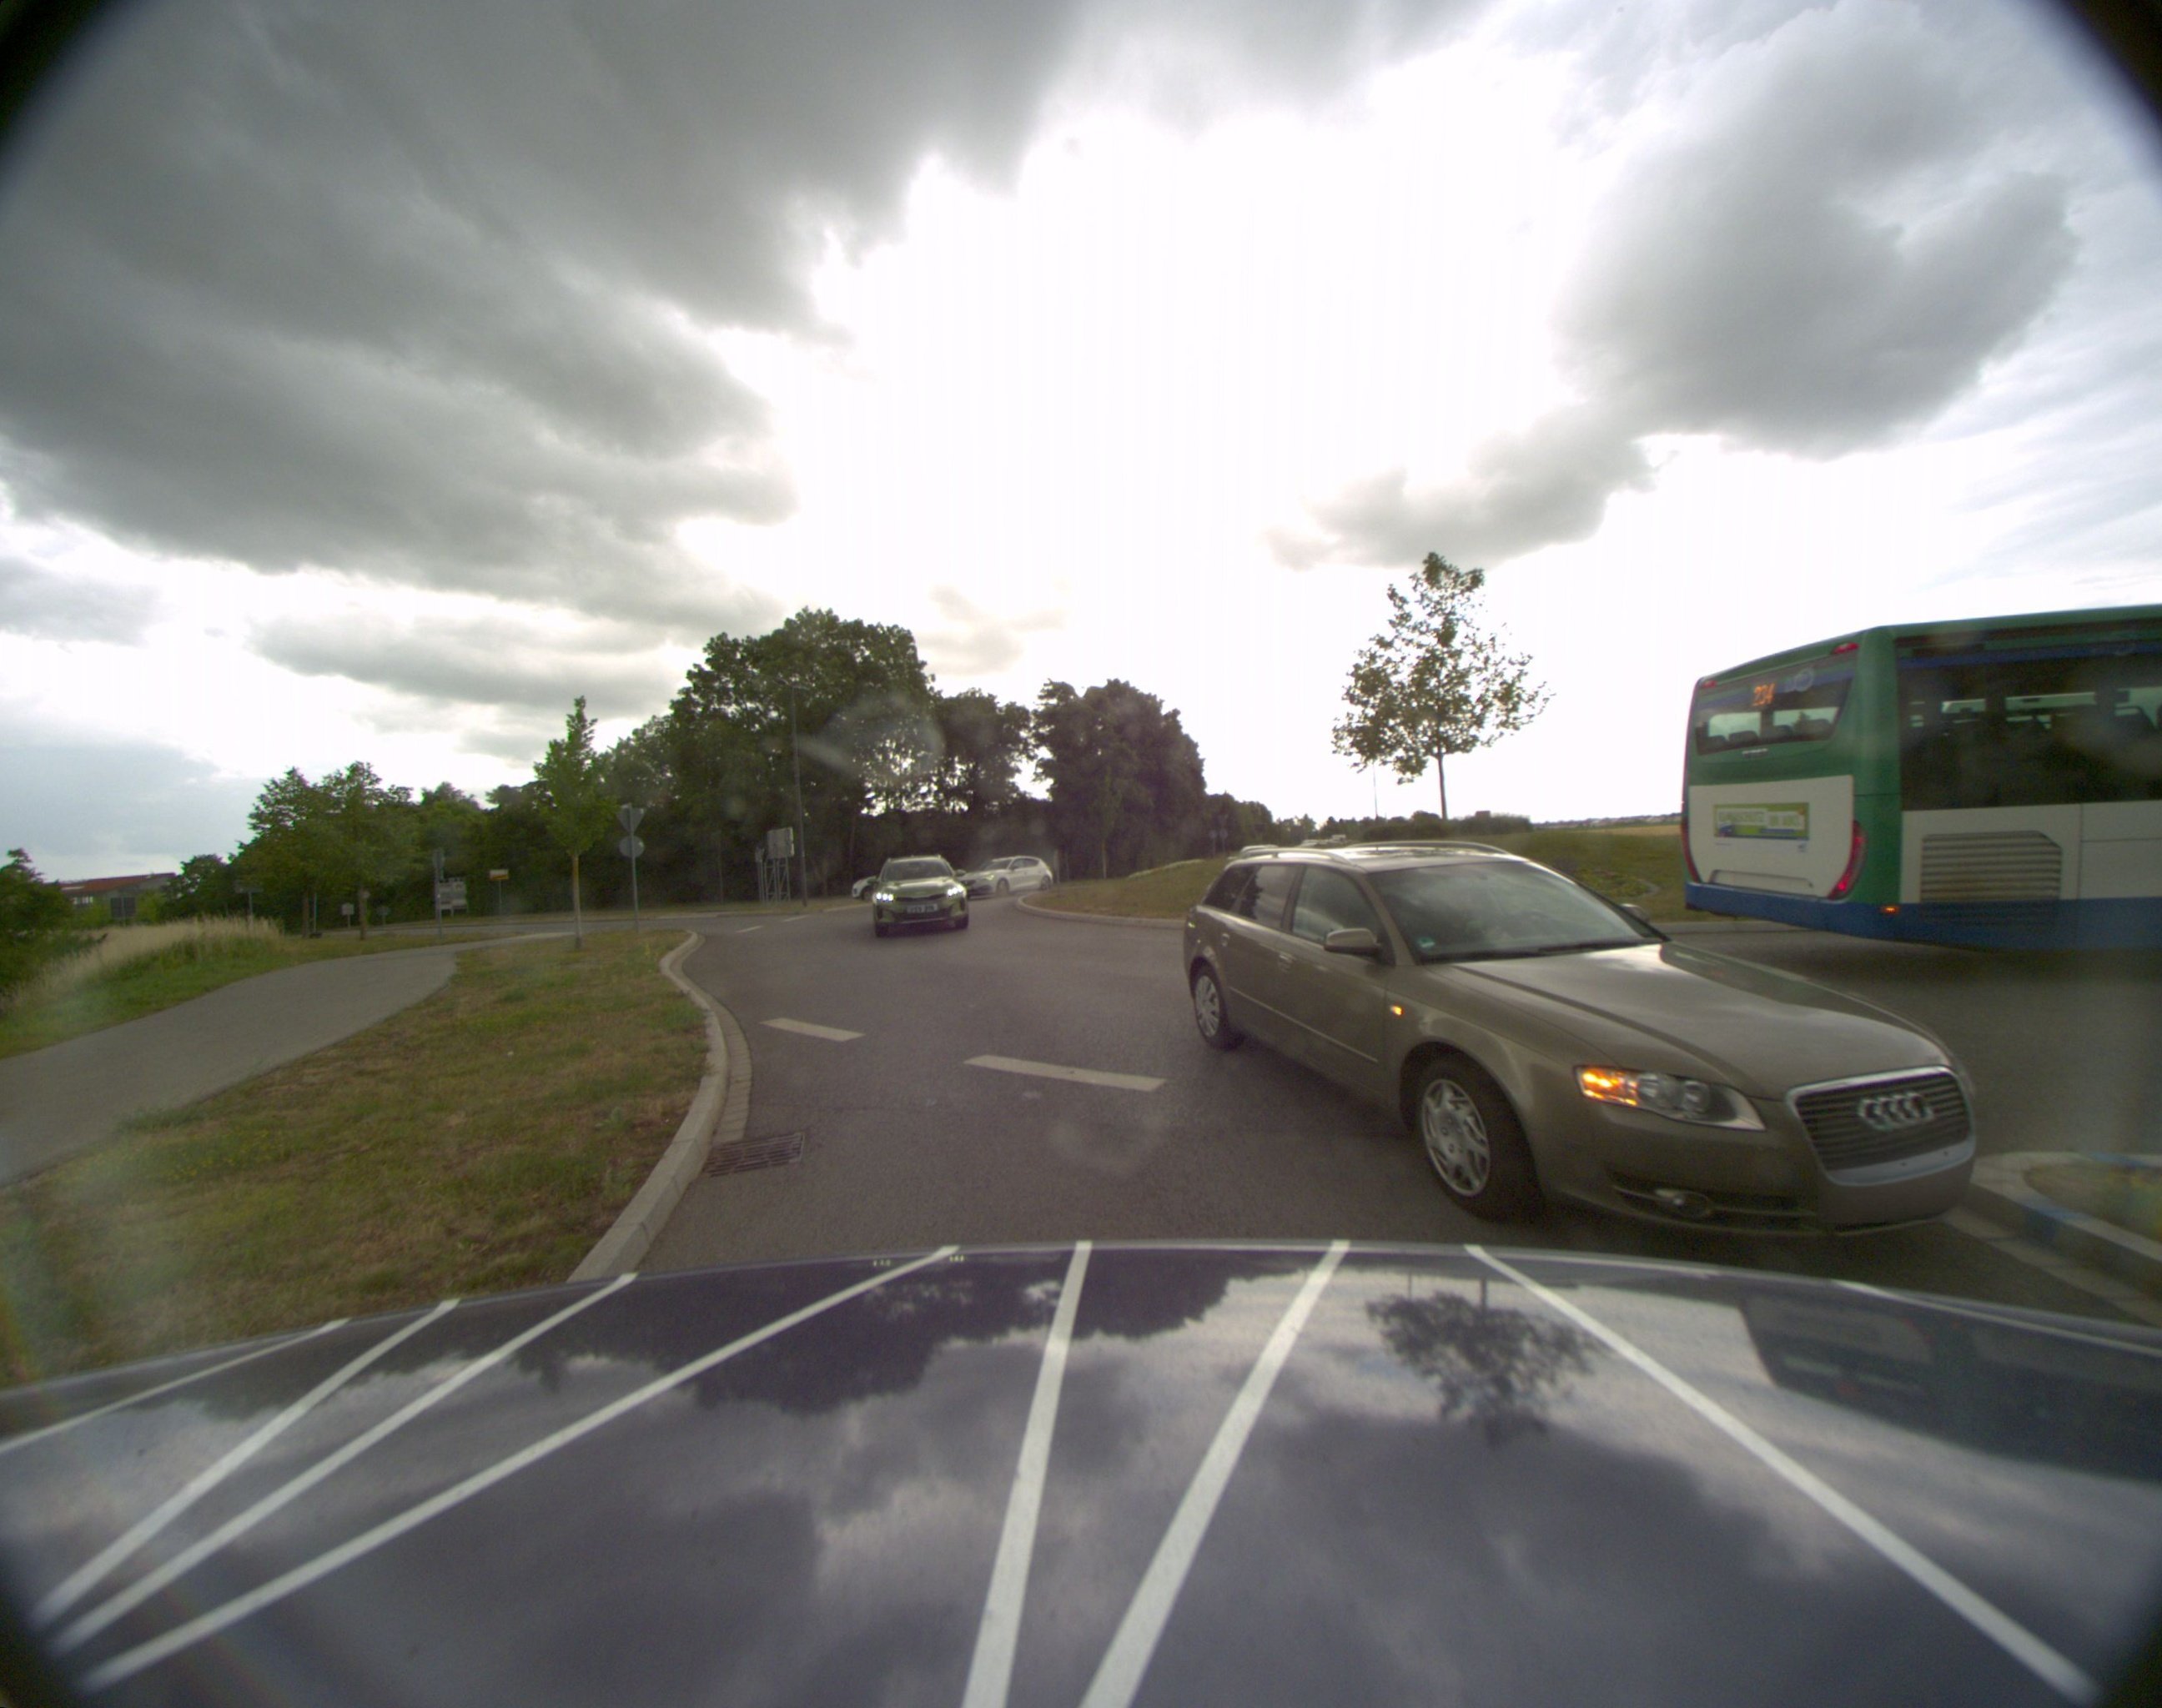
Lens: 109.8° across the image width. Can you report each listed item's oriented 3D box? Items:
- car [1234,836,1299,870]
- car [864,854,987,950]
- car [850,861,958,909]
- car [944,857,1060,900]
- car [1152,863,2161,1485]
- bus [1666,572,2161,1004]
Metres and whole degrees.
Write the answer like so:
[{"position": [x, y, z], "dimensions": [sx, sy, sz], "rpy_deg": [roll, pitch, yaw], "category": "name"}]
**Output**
[{"position": [9.937, -0.074, 40.490], "dimensions": [1.777, 1.532, 4.007], "rpy_deg": [-3, 1, 37], "category": "car"}, {"position": [-3.454, 0.853, 16.051], "dimensions": [1.927, 1.494, 4.873], "rpy_deg": [-5, 2, -18], "category": "car"}, {"position": [-7.564, 1.291, 32.627], "dimensions": [4.275, 1.592, 1.924], "rpy_deg": [-5, 1, -12], "category": "car"}, {"position": [-2.735, 0.840, 27.283], "dimensions": [1.921, 1.319, 4.282], "rpy_deg": [-3, -1, 30], "category": "car"}, {"position": [1.964, 0.826, 4.293], "dimensions": [1.784, 1.456, 4.536], "rpy_deg": [-2, 0, -12], "category": "car"}, {"position": [9.044, -0.532, 6.803], "dimensions": [5.452, 3.239, 2.527], "rpy_deg": [-2, 1, 11], "category": "bus"}]
